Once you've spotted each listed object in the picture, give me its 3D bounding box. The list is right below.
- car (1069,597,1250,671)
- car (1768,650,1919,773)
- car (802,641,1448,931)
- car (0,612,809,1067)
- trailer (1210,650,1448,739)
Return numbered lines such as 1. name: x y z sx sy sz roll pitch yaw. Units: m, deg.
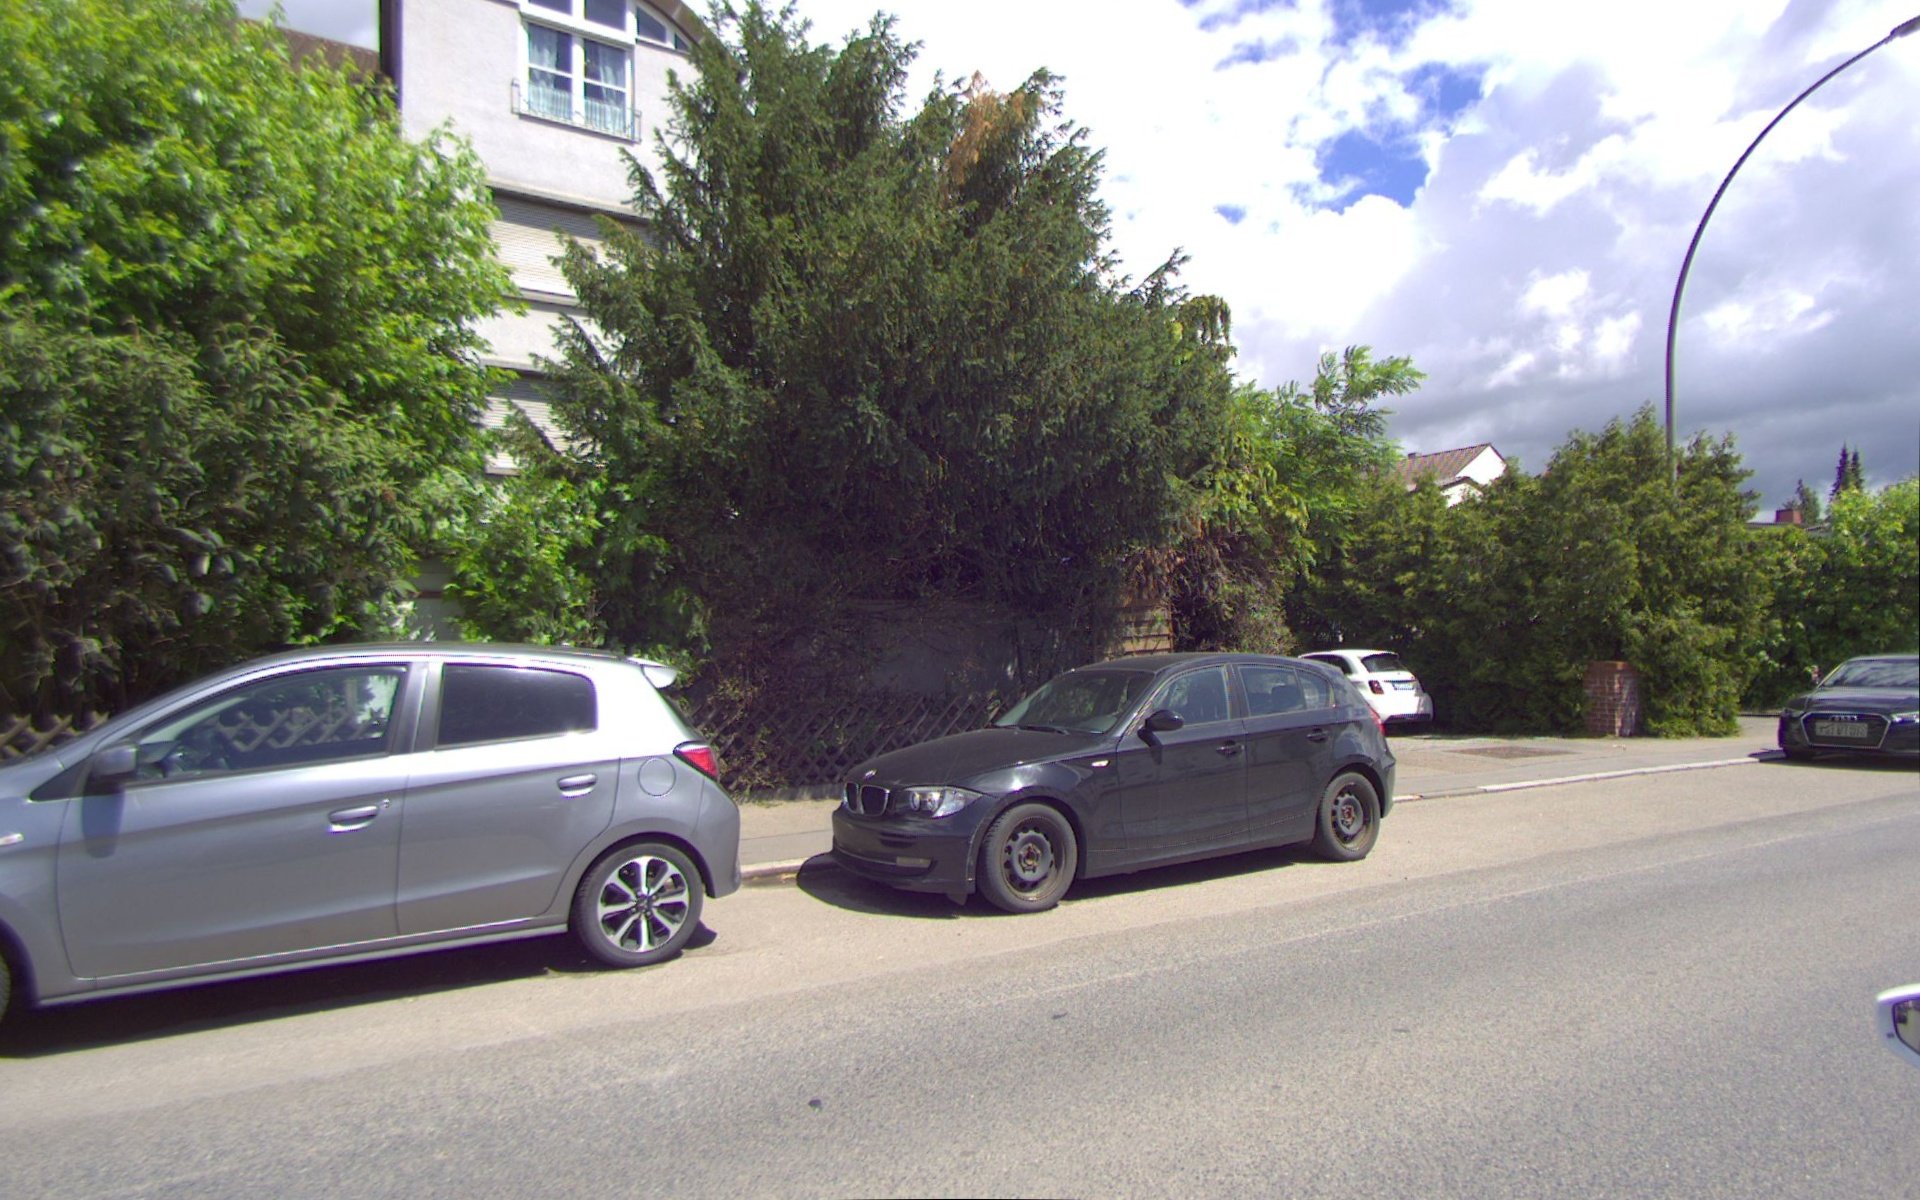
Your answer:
1. car: 4.472 0.852 23.081 1.976 1.470 3.971 1 -5 -29
2. car: 12.757 1.388 13.366 4.287 1.432 1.655 1 -4 -30
3. car: 1.233 1.043 6.885 4.287 1.454 1.656 1 -5 -30
4. car: -2.827 0.893 4.616 3.898 1.530 1.656 1 -5 -30
5. trailer: 6.756 1.762 18.831 1.778 1.478 3.973 1 -6 -28
